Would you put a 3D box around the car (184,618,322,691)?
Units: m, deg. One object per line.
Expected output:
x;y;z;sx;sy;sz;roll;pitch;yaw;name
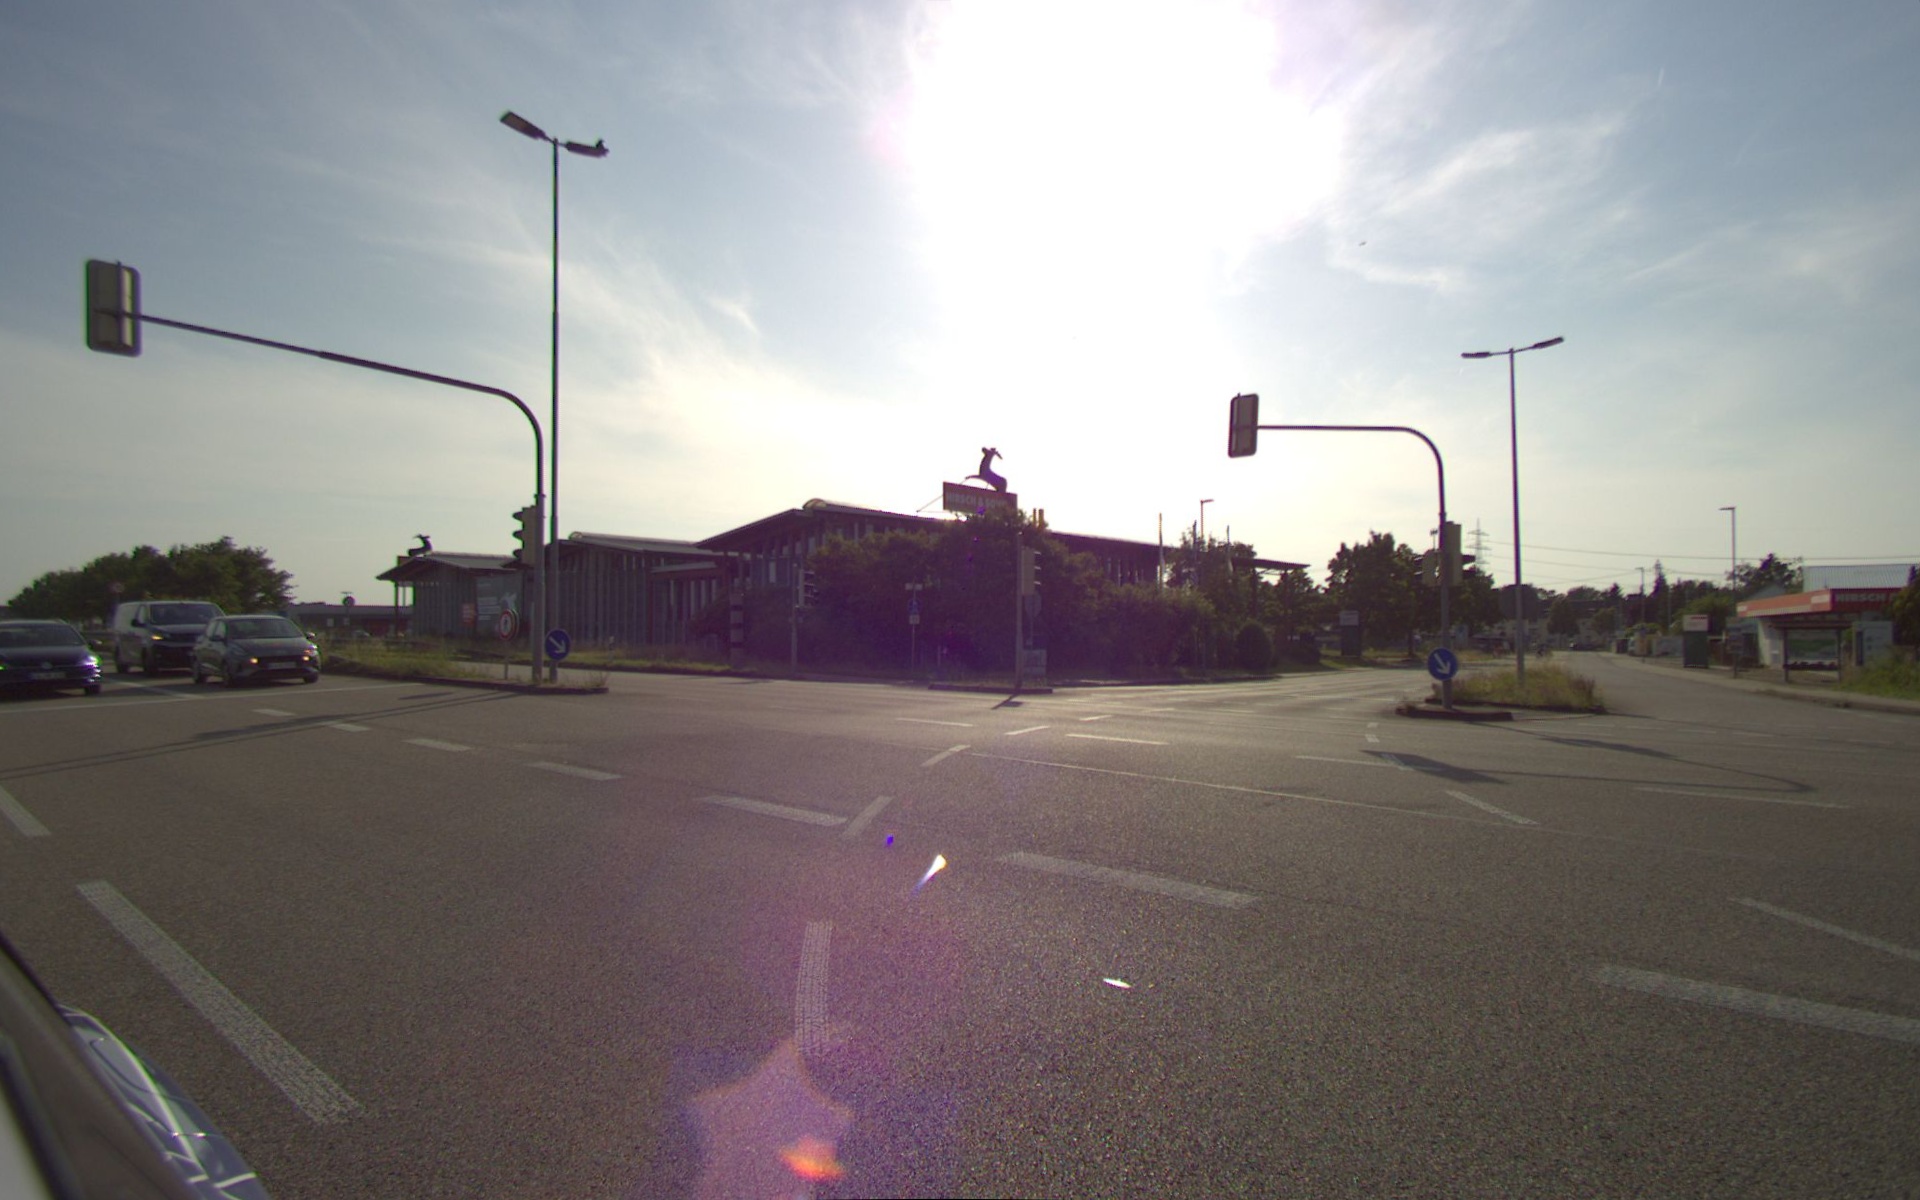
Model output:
-15.487;1.149;22.108;3.563;1.448;1.689;-2;-1;41;car

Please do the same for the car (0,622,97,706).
-18.569;1.206;20.012;4.774;1.482;1.629;-2;-1;41;car

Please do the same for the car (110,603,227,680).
-20.482;1.043;26.121;4.223;1.848;1.629;-2;-2;41;car
